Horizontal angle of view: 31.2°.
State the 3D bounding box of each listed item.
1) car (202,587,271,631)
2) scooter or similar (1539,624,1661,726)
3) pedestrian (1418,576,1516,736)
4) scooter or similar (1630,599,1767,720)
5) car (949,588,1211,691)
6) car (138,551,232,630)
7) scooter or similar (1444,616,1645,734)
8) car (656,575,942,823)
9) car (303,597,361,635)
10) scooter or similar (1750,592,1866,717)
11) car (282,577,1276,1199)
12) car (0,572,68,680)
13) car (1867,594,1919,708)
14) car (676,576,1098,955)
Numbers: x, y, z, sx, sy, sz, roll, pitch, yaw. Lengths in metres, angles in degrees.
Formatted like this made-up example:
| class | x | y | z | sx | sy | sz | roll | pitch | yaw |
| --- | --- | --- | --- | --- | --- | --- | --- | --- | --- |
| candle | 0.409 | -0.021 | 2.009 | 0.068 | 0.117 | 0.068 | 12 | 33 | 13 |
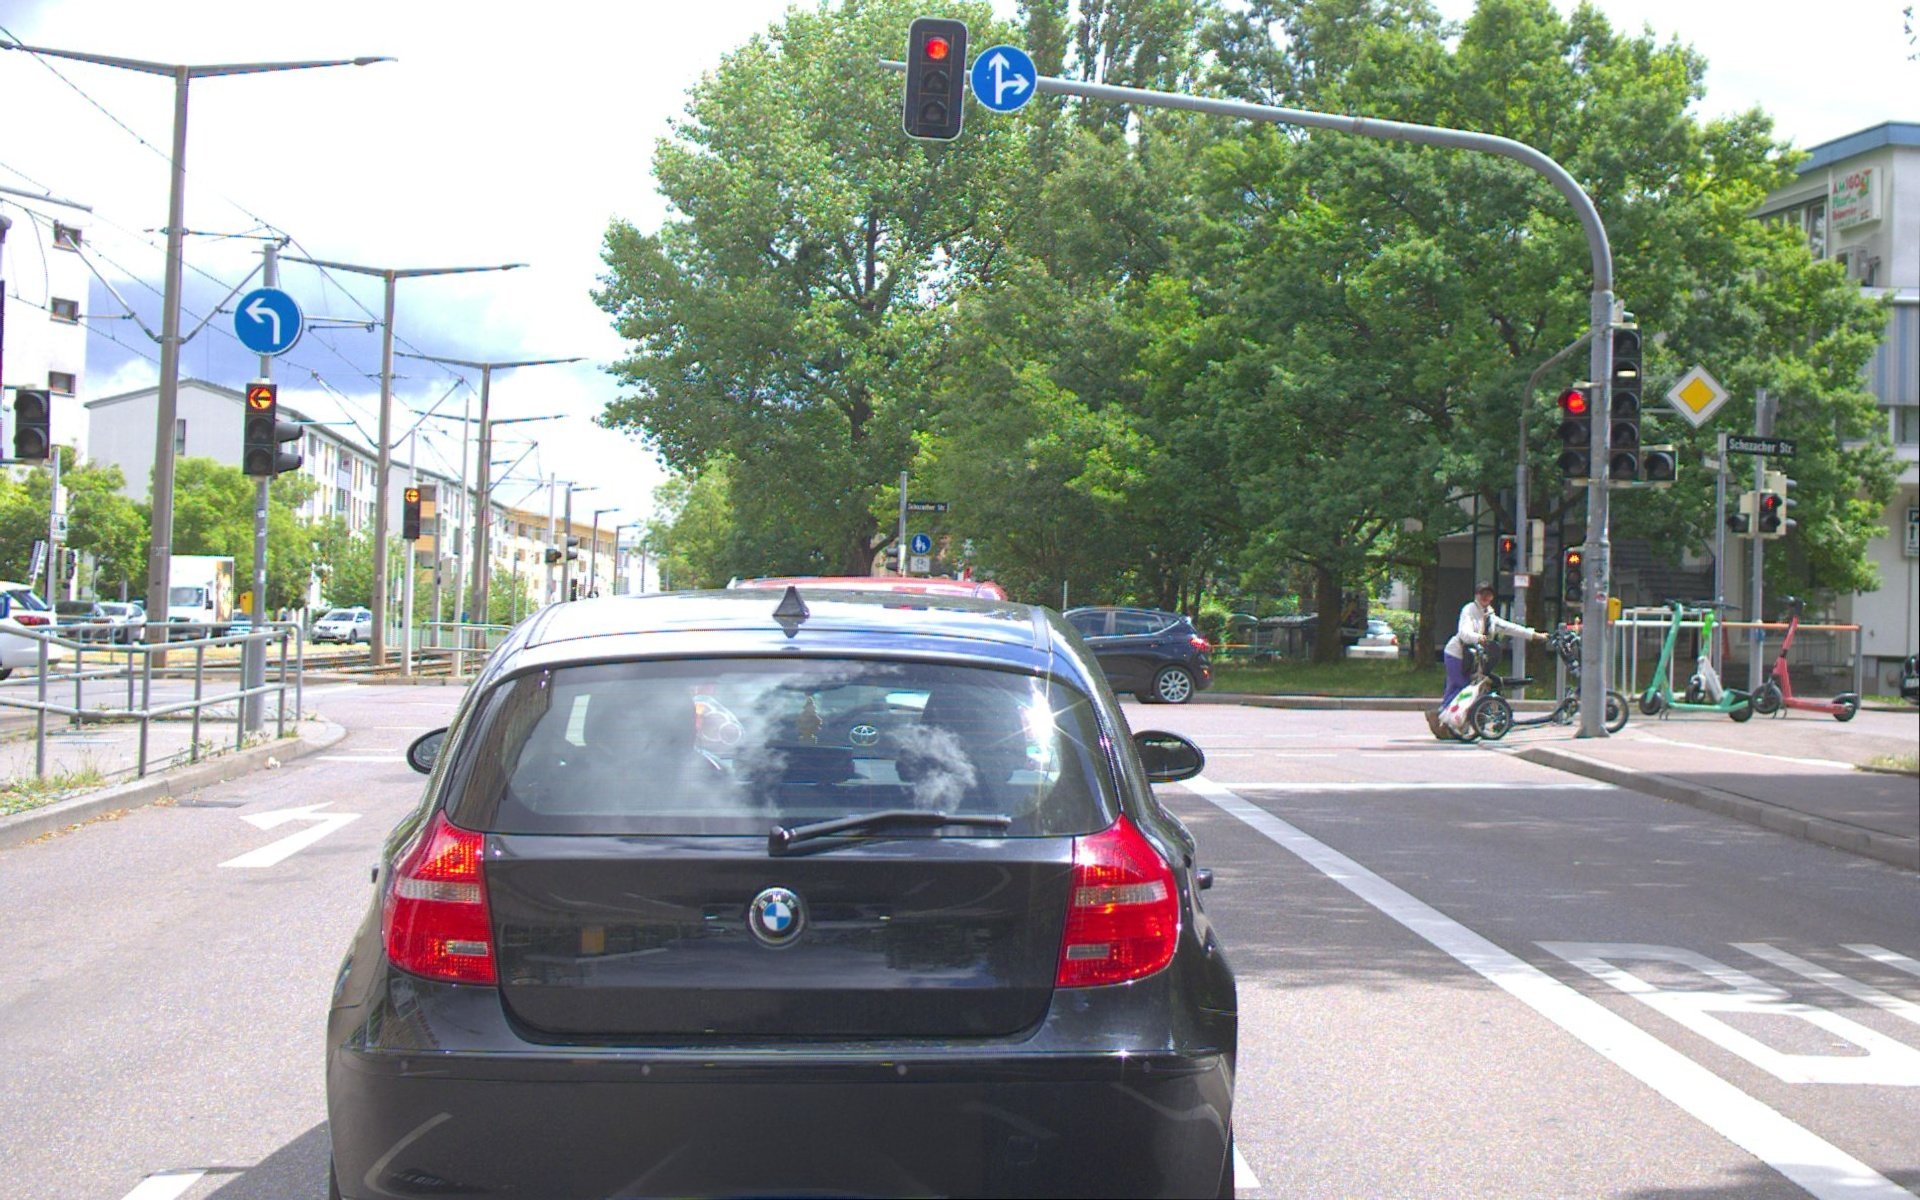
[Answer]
| class | x | y | z | sx | sy | sz | roll | pitch | yaw |
| --- | --- | --- | --- | --- | --- | --- | --- | --- | --- |
| car | -27.639 | 0.332 | 131.466 | 1.966 | 1.590 | 4.000 | 1 | 1 | -3 |
| scooter or similar | 6.125 | 0.715 | 32.891 | 1.119 | 0.954 | 0.300 | 0 | 0 | -16 |
| pedestrian | 4.651 | 0.502 | 31.525 | 0.865 | 1.438 | 0.798 | 1 | 0 | 9 |
| scooter or similar | 7.342 | 0.588 | 34.166 | 1.287 | 1.185 | 0.385 | 0 | 0 | -16 |
| car | 1.743 | 0.577 | 50.498 | 3.603 | 1.457 | 1.617 | 0 | 0 | -8 |
| car | -26.521 | -0.341 | 117.785 | 2.139 | 2.631 | 5.359 | 1 | 1 | -2 |
| scooter or similar | 5.288 | 0.677 | 31.099 | 1.780 | 1.047 | 0.410 | 0 | 1 | -16 |
| car | -1.003 | 0.567 | 21.822 | 1.654 | 1.414 | 3.517 | 1 | 1 | -2 |
| car | -27.731 | 0.690 | 151.833 | 1.966 | 1.590 | 4.000 | 1 | 1 | -3 |
| scooter or similar | 8.634 | 0.555 | 35.003 | 1.106 | 1.253 | 0.332 | 0 | 0 | -12 |
| car | -0.271 | 0.675 | 7.512 | 1.654 | 1.414 | 3.517 | 1 | 1 | 1 |
| car | -15.049 | 0.344 | 48.365 | 4.638 | 1.475 | 2.000 | 0 | 1 | -8 |
| car | 15.104 | 0.732 | 49.423 | 3.576 | 1.595 | 1.712 | 1 | 0 | -12 |
| car | -0.274 | 0.619 | 14.876 | 1.594 | 1.414 | 3.517 | 1 | 1 | 0 |
